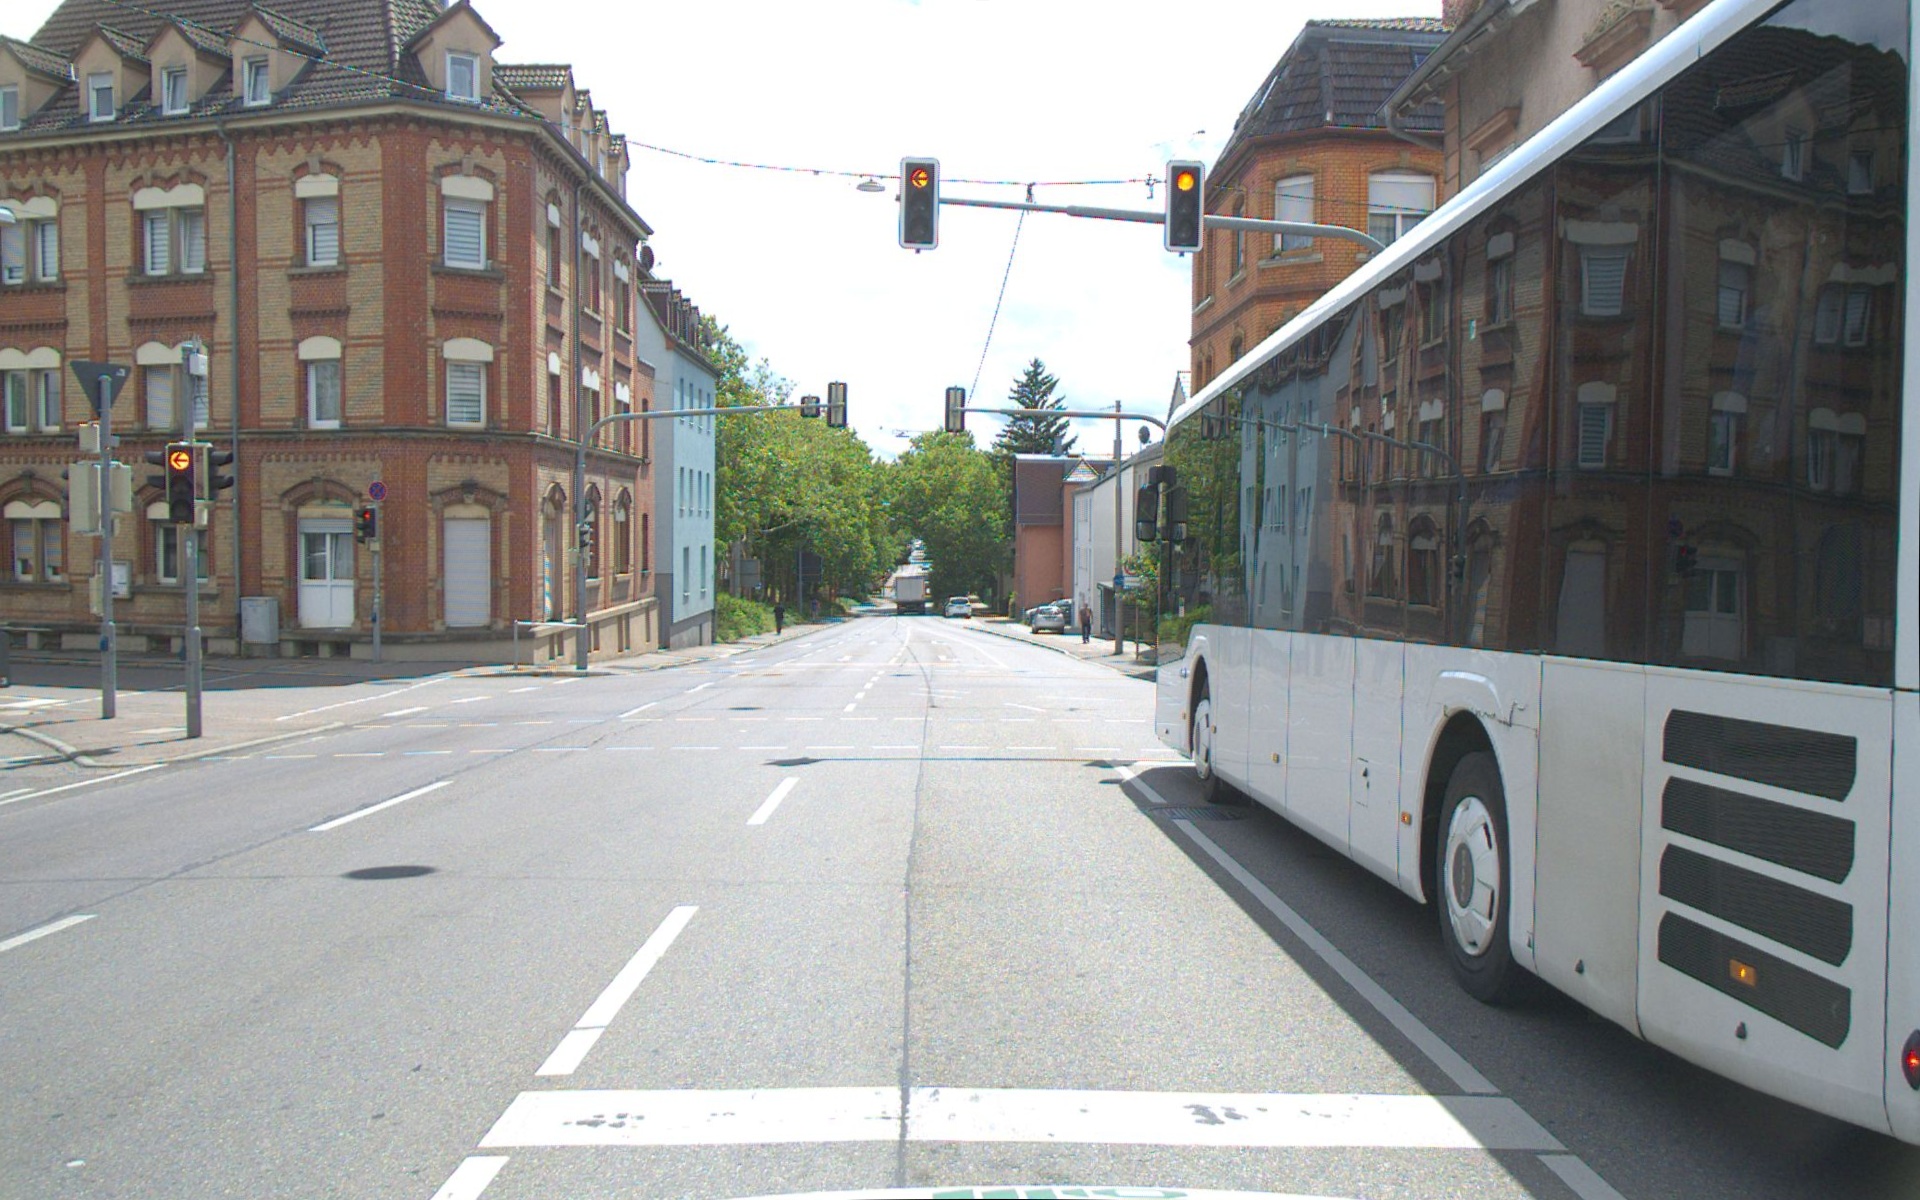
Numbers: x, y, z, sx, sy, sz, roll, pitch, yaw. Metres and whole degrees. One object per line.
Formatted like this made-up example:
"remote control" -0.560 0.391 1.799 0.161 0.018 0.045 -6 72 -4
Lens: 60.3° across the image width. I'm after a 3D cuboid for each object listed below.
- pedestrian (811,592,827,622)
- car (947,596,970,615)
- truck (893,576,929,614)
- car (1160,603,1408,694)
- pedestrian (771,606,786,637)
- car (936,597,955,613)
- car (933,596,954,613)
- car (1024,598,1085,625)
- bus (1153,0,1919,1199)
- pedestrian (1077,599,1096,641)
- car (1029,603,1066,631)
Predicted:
"pedestrian" -9.650 0.472 113.151 0.974 2.049 1.188 0 0 -1
"car" -0.120 0.434 129.449 1.758 1.434 3.999 1 0 -1
"truck" -4.317 -0.458 144.414 2.868 3.135 7.881 -1 0 -3
"car" 5.511 0.795 28.066 3.904 1.452 1.704 0 0 21
"pedestrian" -9.304 1.096 84.887 0.714 1.592 0.560 0 0 -2
"car" -1.352 0.485 153.903 1.757 1.434 4.418 1 0 0
"car" -1.420 0.376 145.797 1.757 1.434 4.418 1 0 0
"car" 6.475 0.762 113.256 3.909 1.788 1.998 -1 0 -6
"bus" 3.221 -0.066 9.265 2.618 3.211 12.459 1 0 -1
"pedestrian" 5.533 0.871 72.395 0.723 1.781 0.619 -1 0 -1
"car" 4.903 0.935 93.131 1.758 1.434 3.999 -1 1 -2
